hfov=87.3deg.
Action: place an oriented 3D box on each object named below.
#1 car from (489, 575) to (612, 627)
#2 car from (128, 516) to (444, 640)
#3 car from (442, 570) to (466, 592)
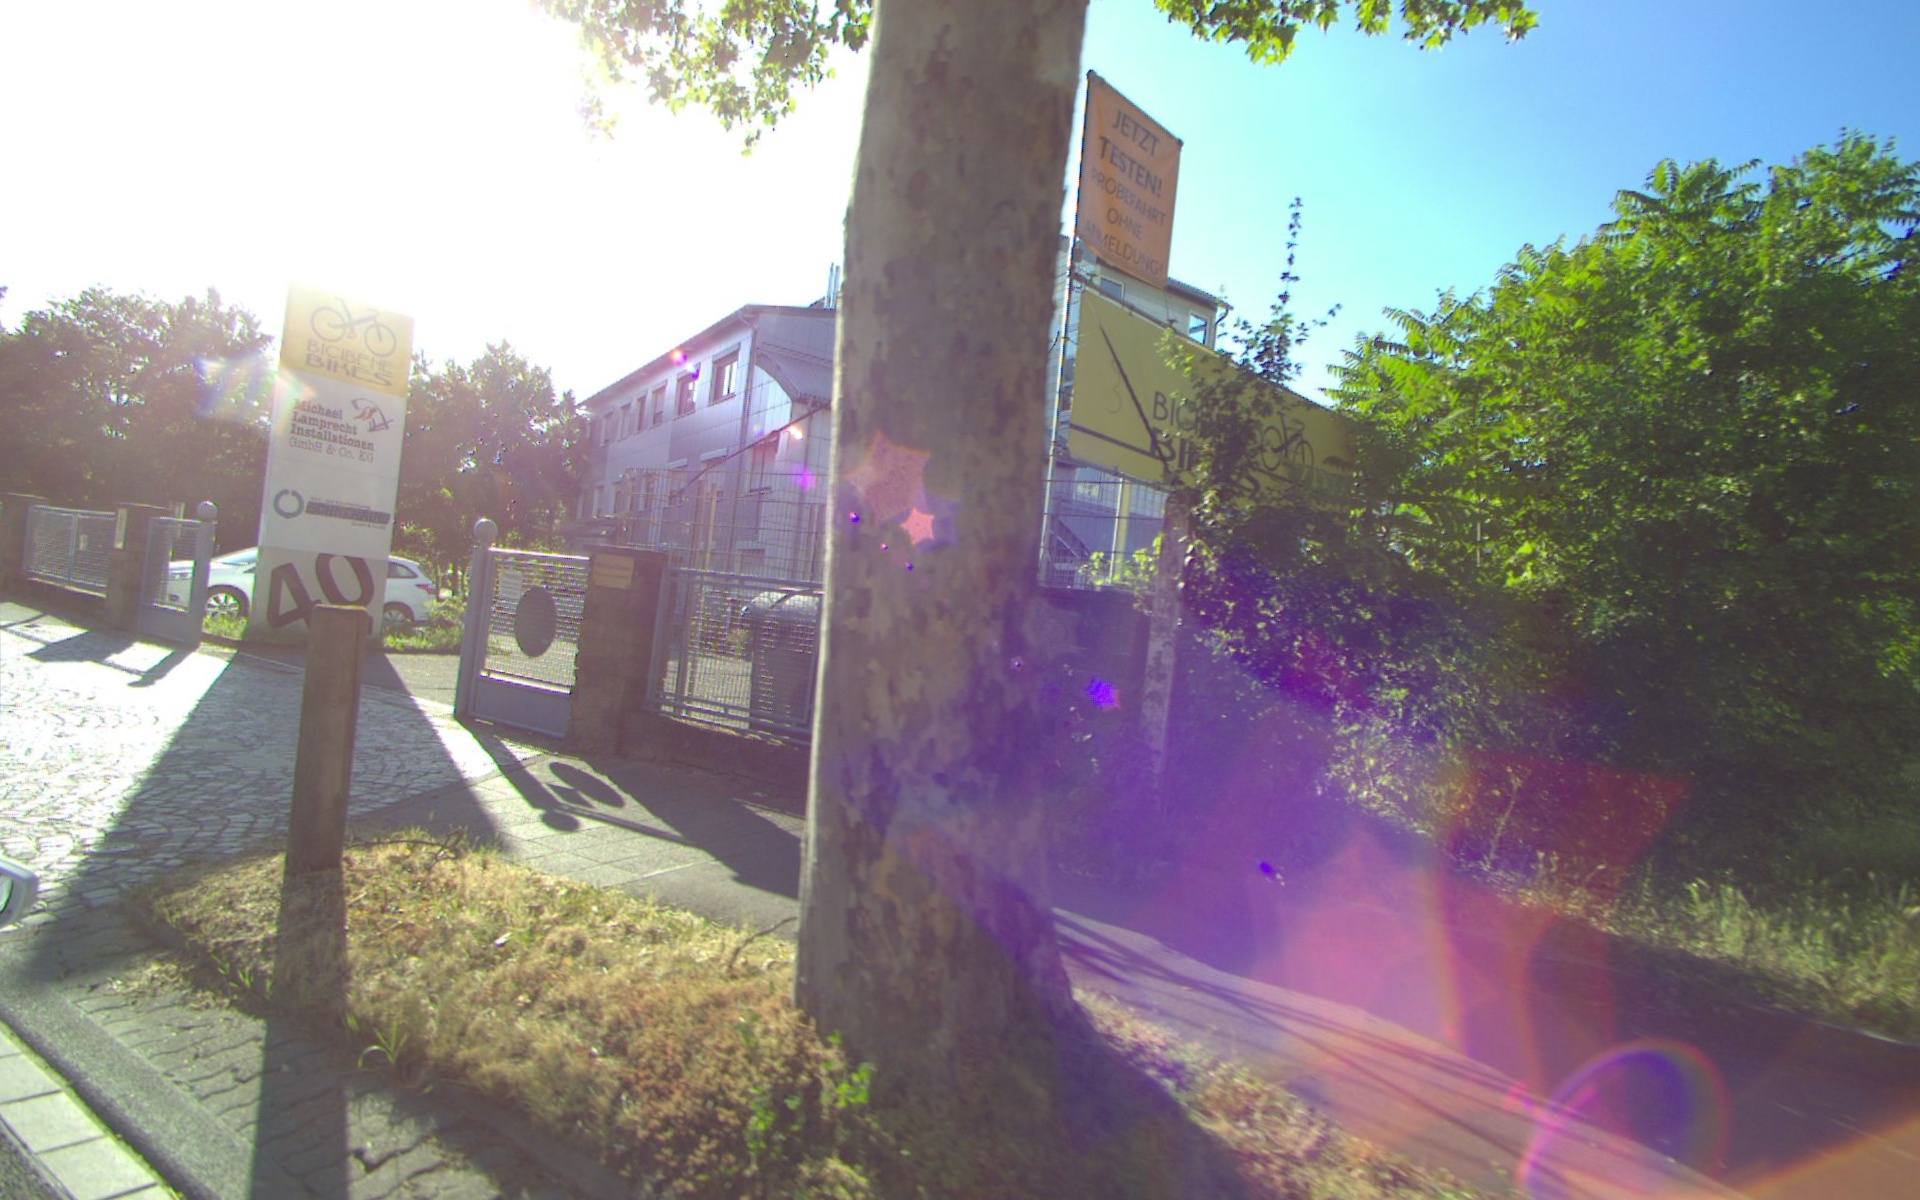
[{"bbox_3d":[-15.808,0.042,38.928,3.965,1.593,1.891,7,-2,-37],"label":"car"},{"bbox_3d":[-11.310,-0.298,17.166,1.811,1.578,3.992,6,-2,32],"label":"car"},{"bbox_3d":[-45.544,-1.676,90.492,1.683,1.707,3.841,9,-3,-27],"label":"car"}]
